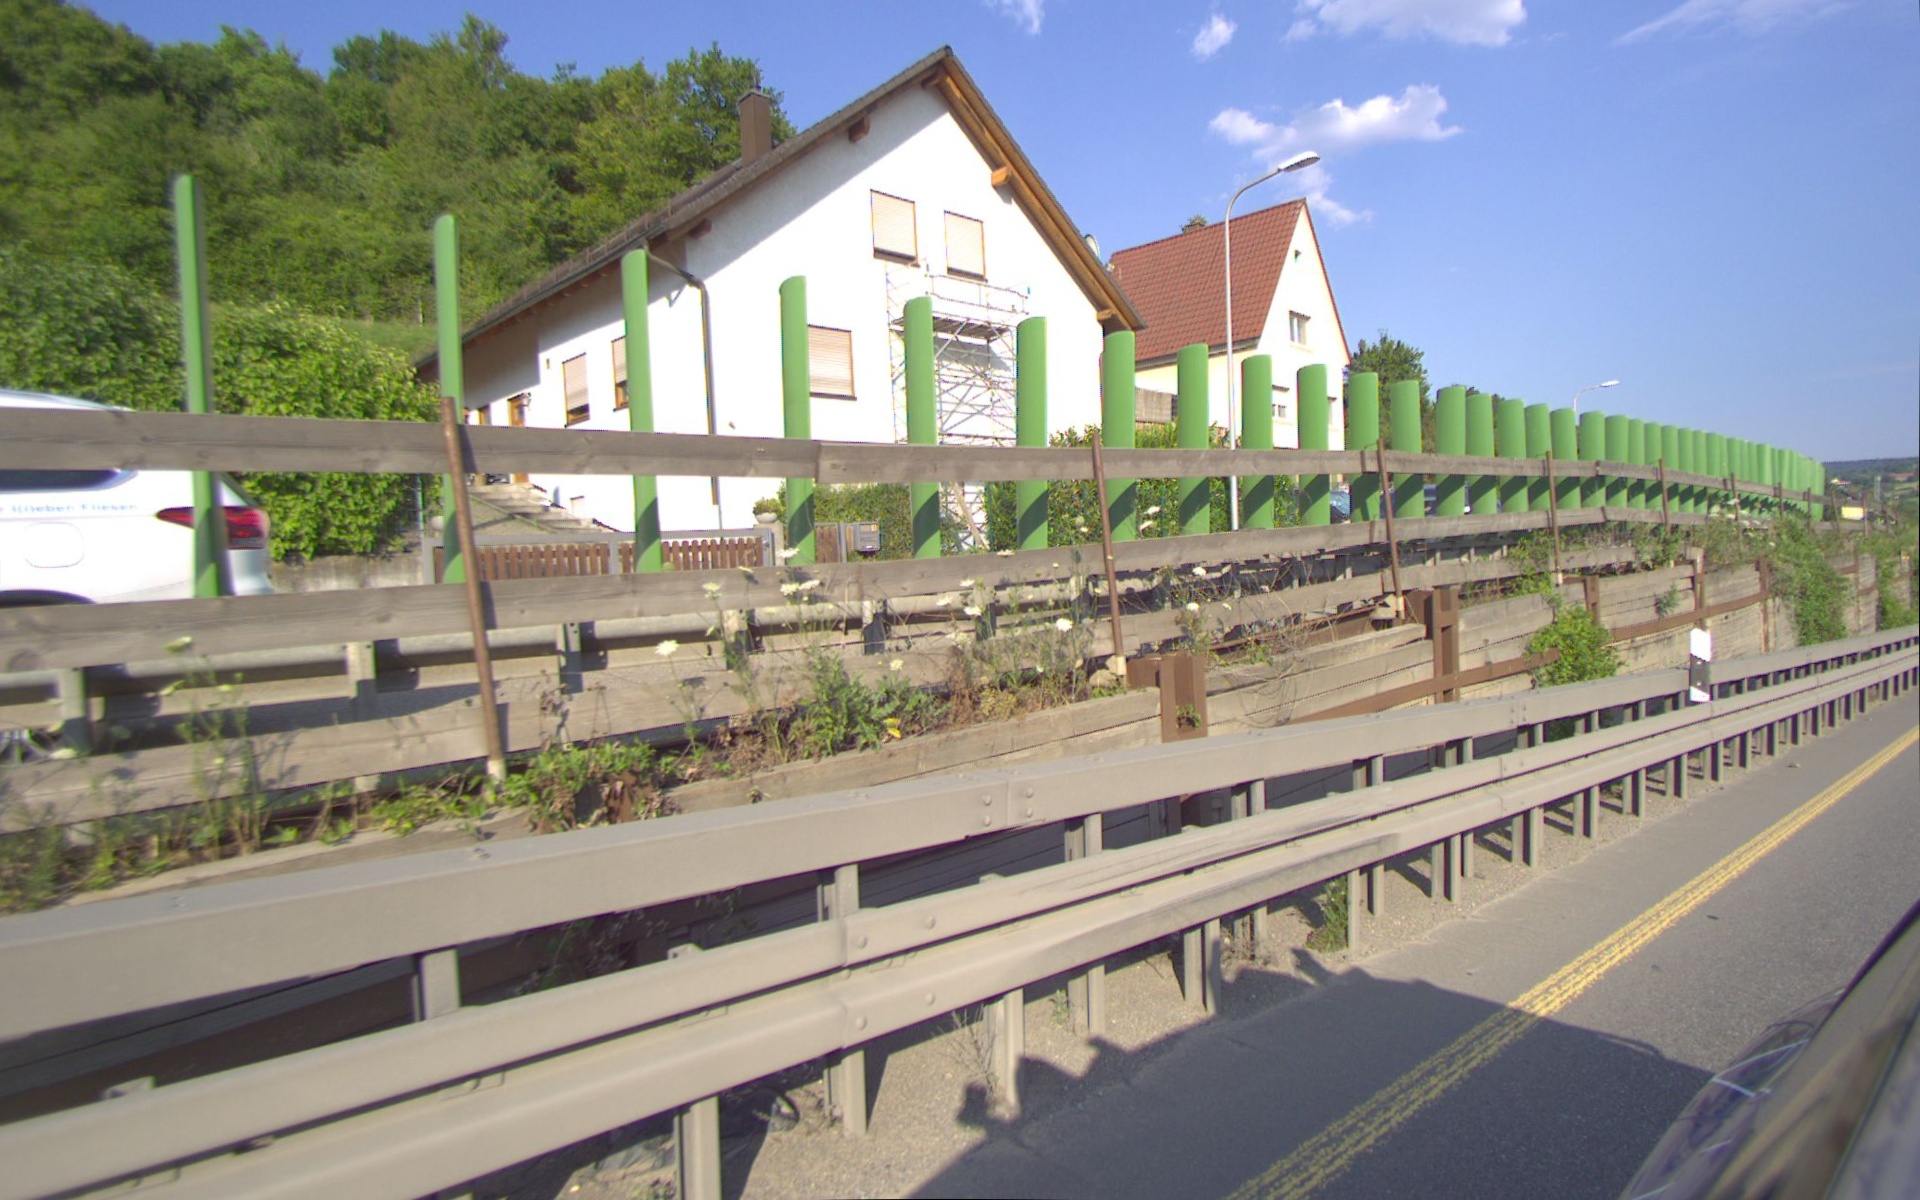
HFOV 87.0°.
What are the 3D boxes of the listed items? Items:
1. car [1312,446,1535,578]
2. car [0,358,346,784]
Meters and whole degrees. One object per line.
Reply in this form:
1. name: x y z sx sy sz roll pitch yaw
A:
1. car: 7.802 -1.326 16.858 4.175 1.835 1.884 -1 -1 -43
2. car: -5.169 -0.063 3.838 4.572 1.678 1.699 -4 3 -43
